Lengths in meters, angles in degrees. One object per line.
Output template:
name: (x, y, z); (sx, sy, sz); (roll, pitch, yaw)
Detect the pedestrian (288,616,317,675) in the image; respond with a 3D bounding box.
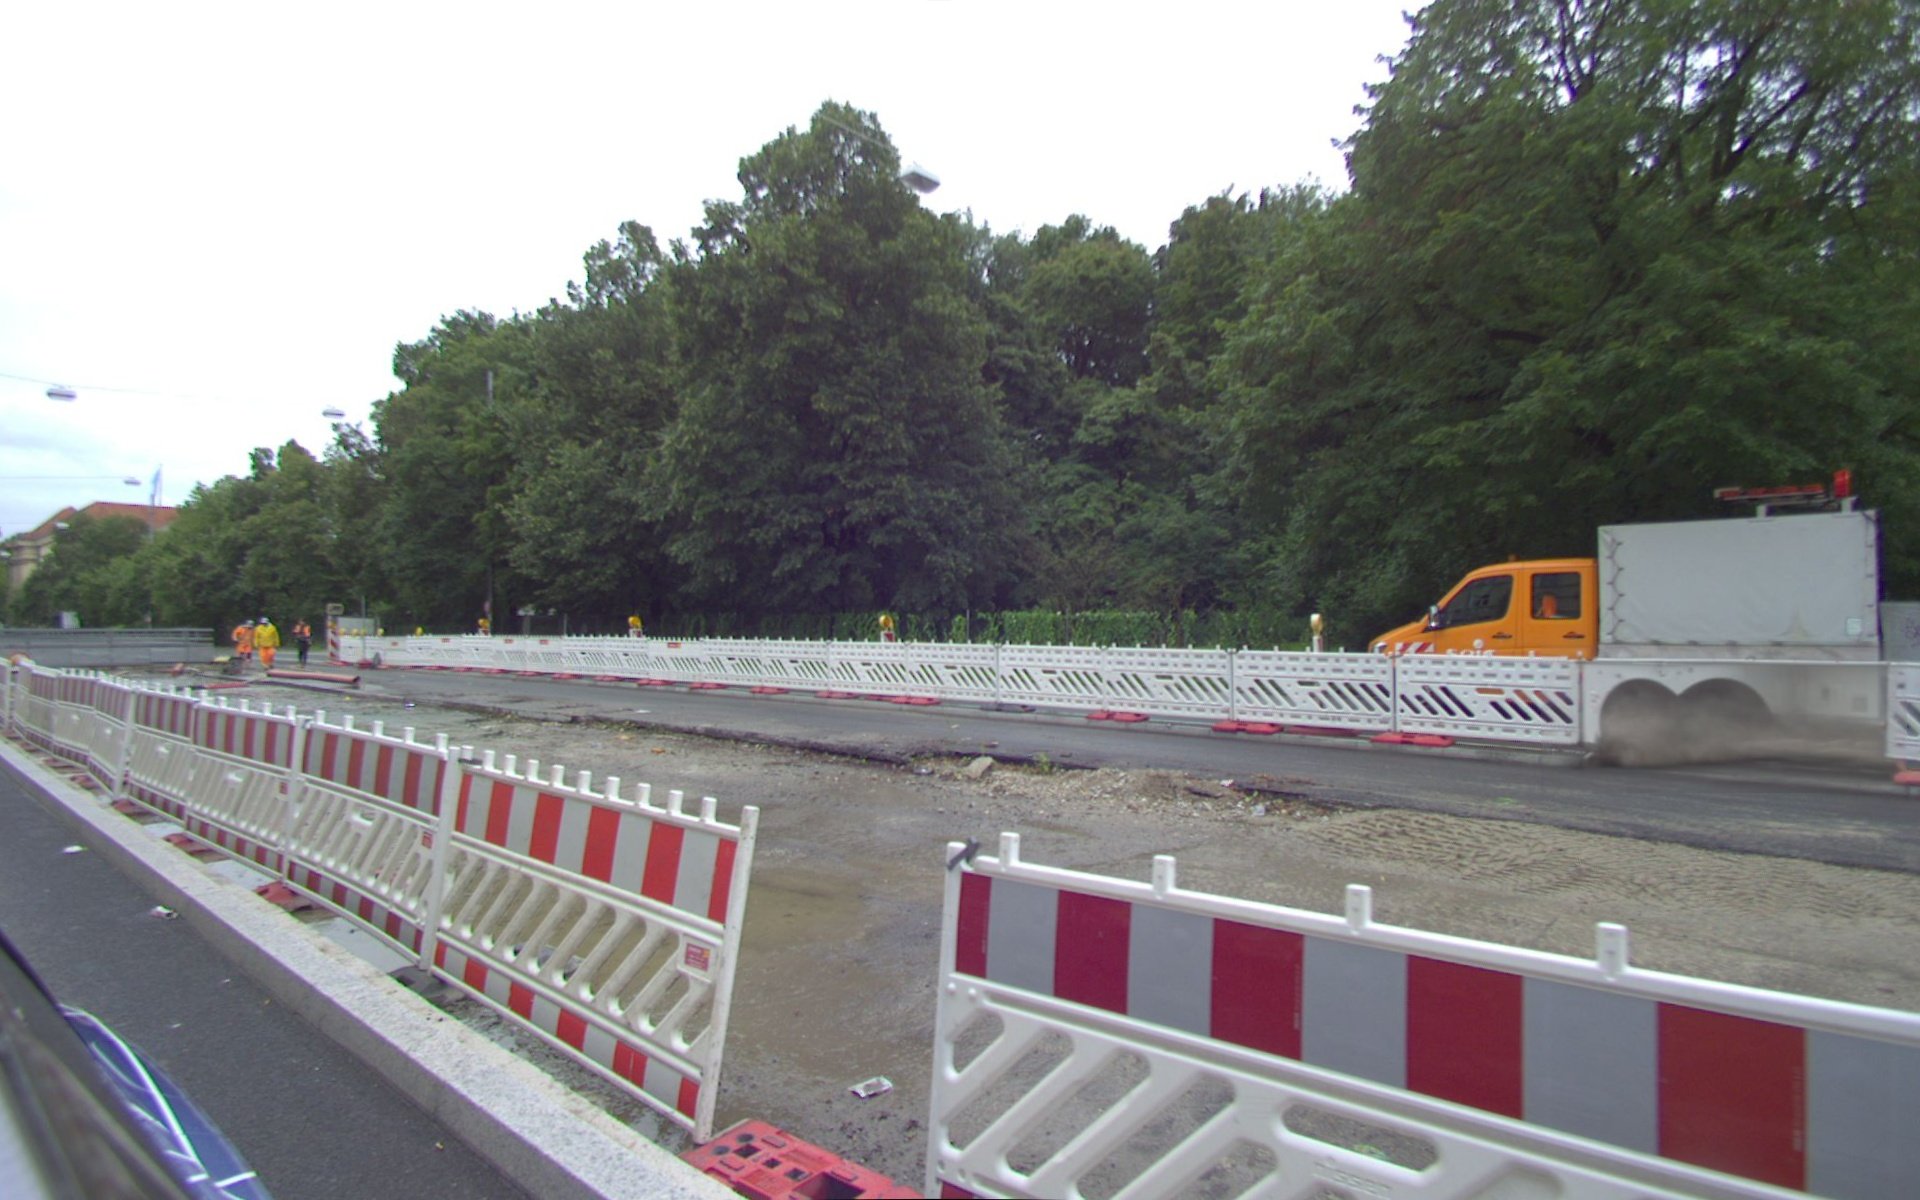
pedestrian: (-22.403, 1.552, 34.497); (0.657, 1.985, 0.808); (1, -2, -23)

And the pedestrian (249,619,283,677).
pedestrian: (-22.356, 1.534, 32.596); (0.846, 1.850, 0.877); (2, -3, -37)

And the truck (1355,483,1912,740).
truck: (9.049, 0.215, 14.201); (6.213, 2.871, 2.098); (-2, -3, 44)

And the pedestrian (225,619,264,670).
pedestrian: (-24.289, 1.500, 34.350); (0.911, 1.701, 0.888); (-2, -3, 44)
